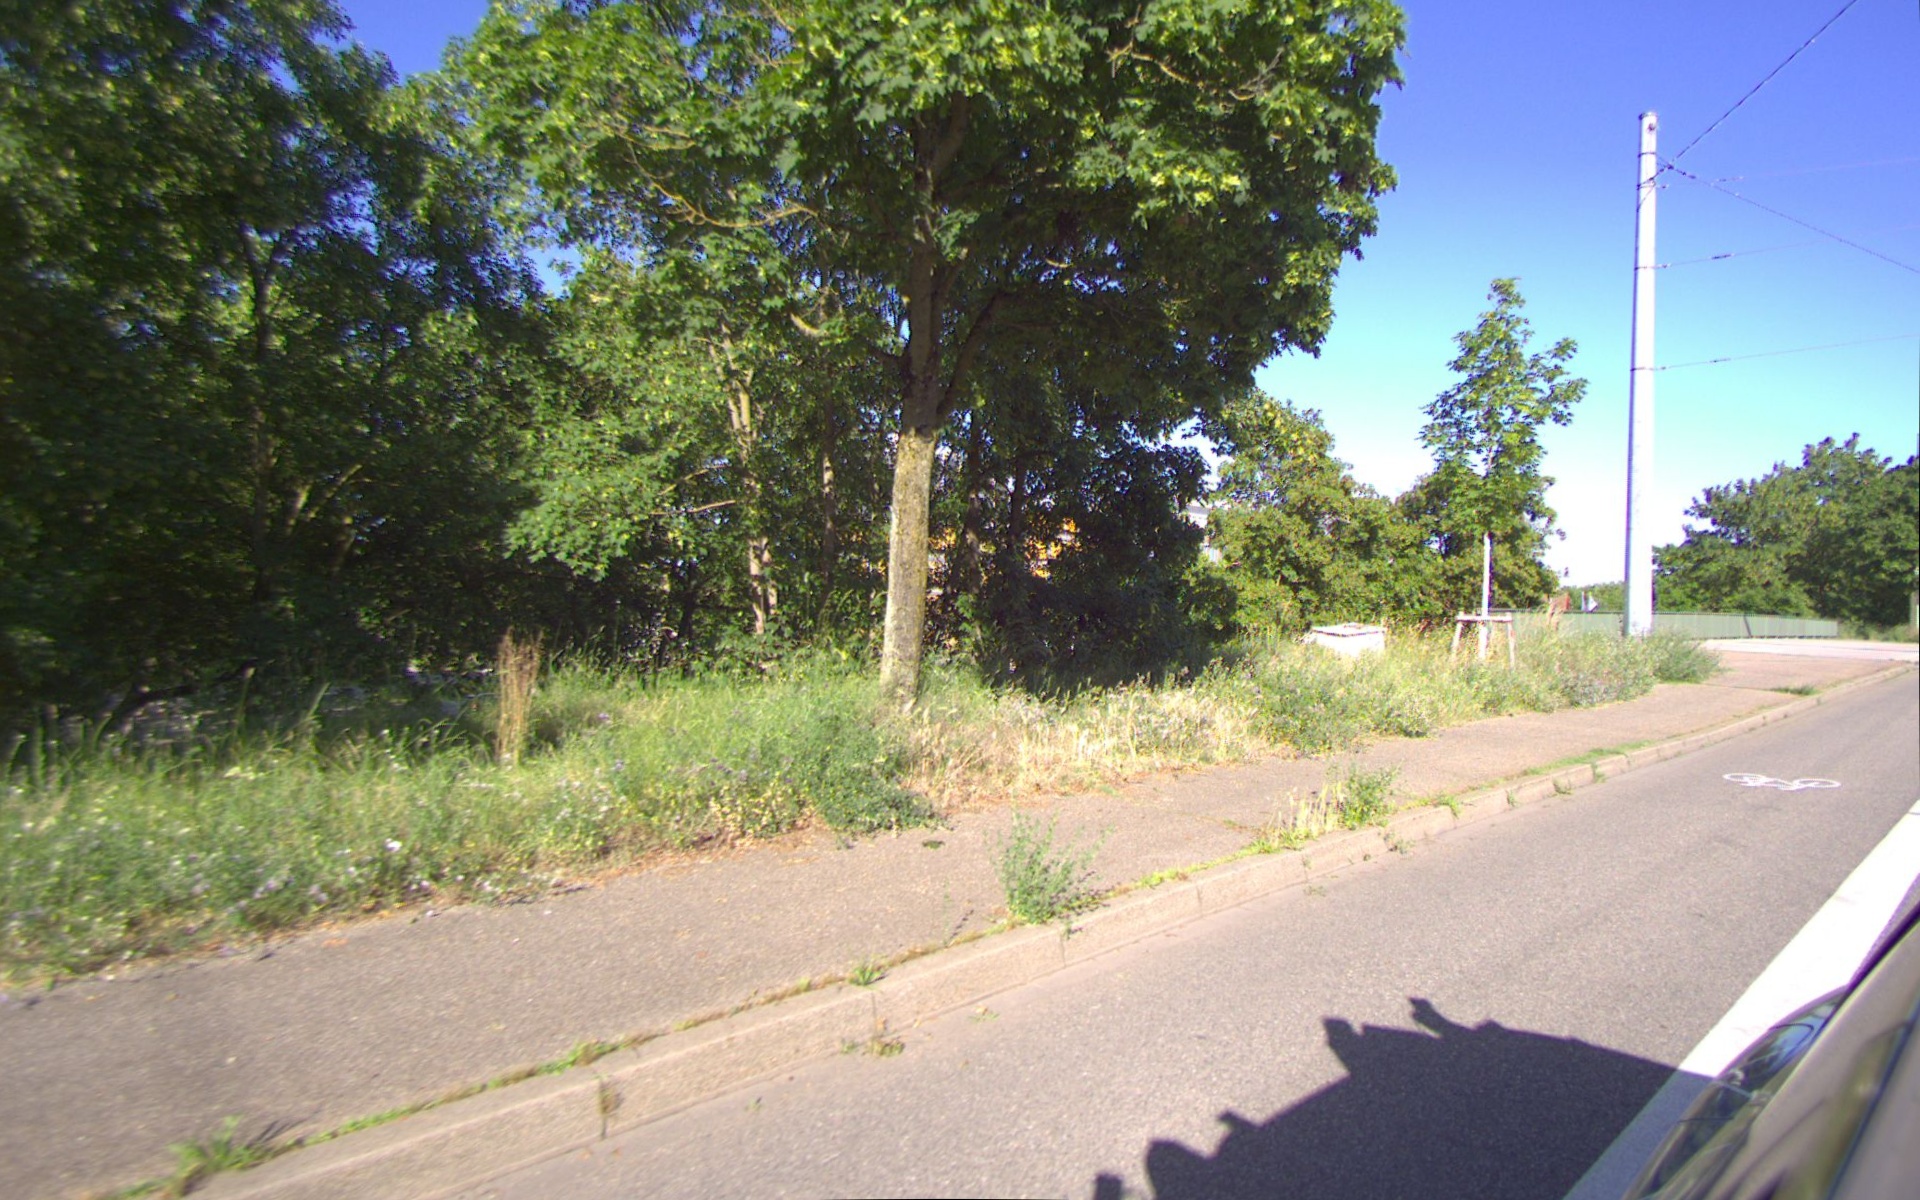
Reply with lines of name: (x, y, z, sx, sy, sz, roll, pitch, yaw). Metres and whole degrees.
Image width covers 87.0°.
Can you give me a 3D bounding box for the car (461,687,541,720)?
car: (-27.230, 6.109, 60.141, 1.835, 1.661, 3.941, 0, -2, 40)
